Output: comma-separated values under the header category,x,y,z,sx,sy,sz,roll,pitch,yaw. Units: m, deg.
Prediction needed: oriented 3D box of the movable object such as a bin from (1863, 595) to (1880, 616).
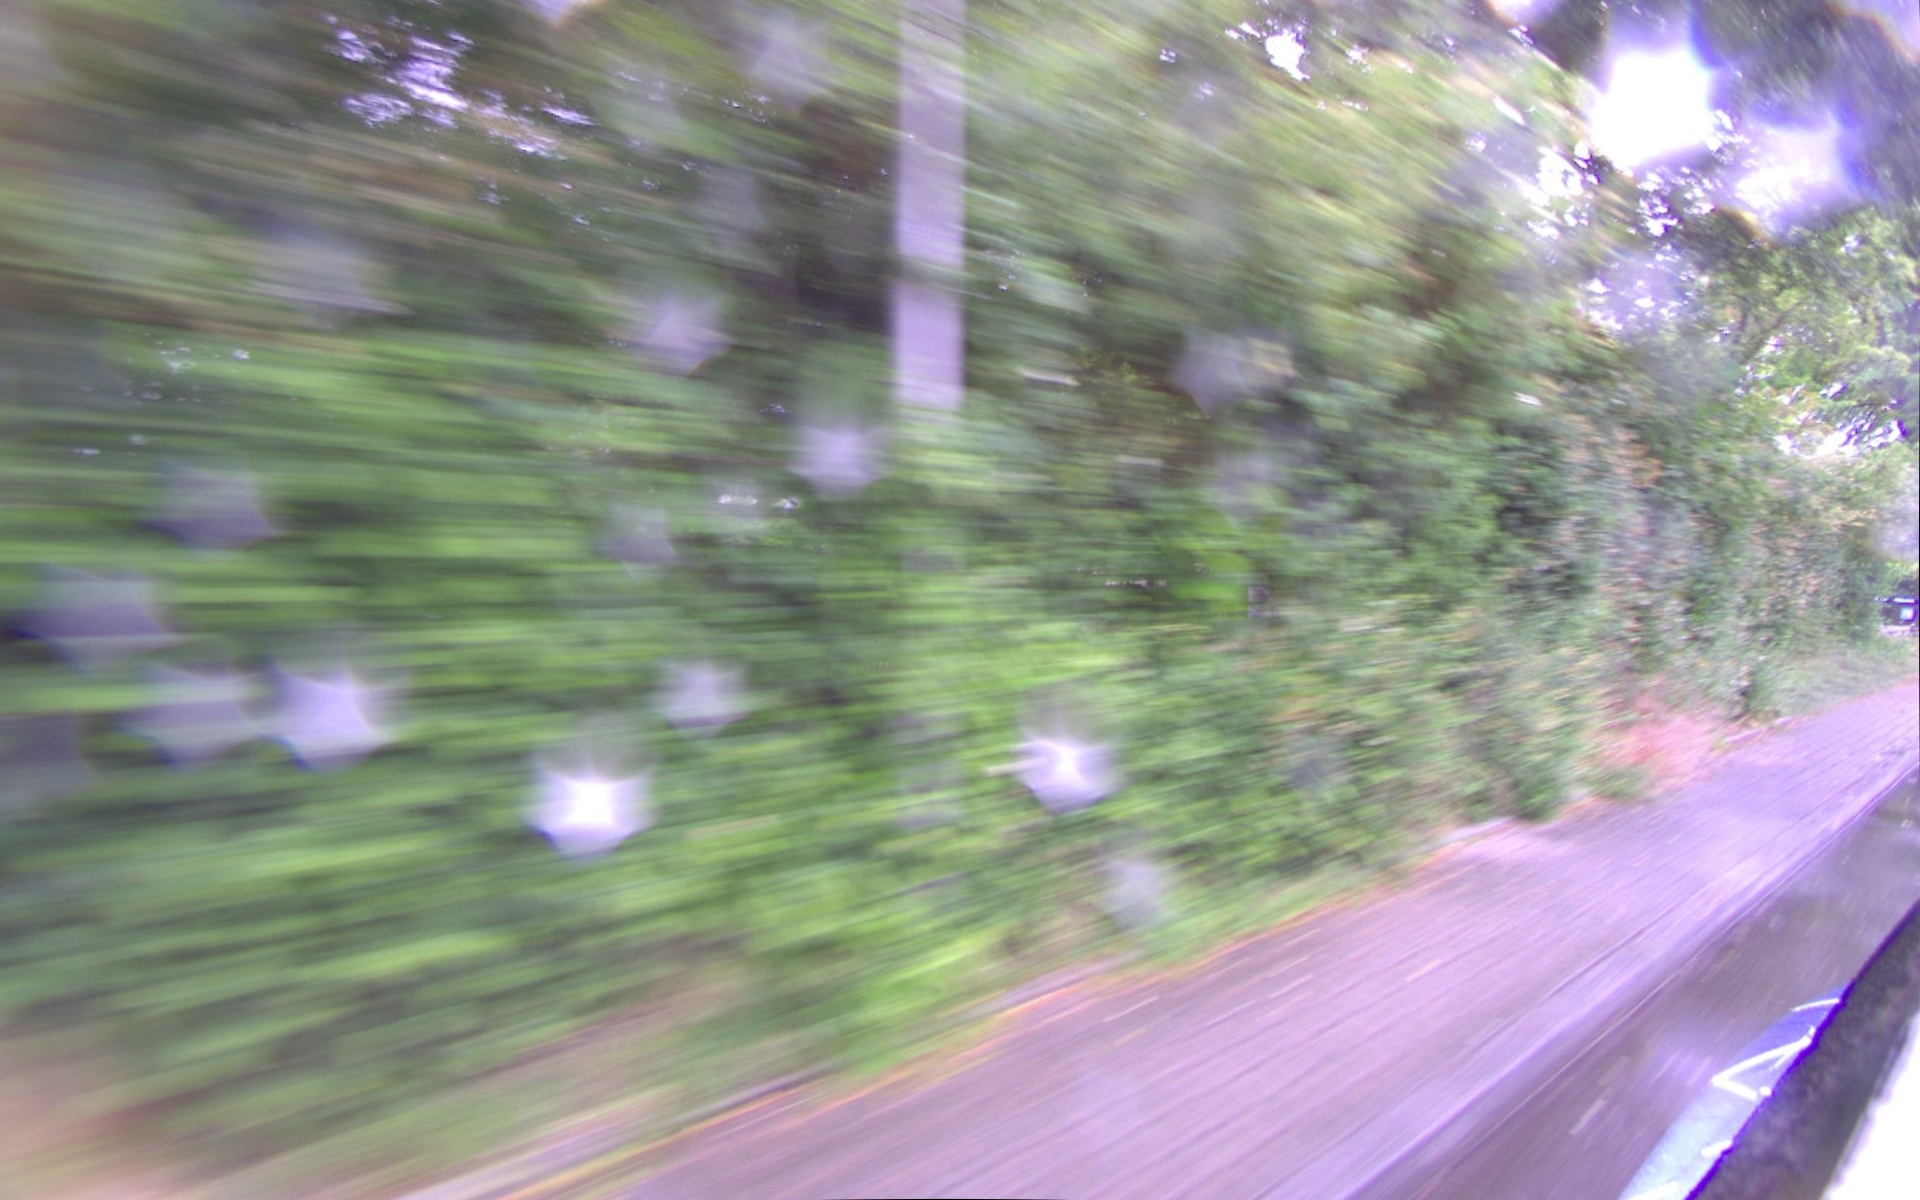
category,x,y,z,sx,sy,sz,roll,pitch,yaw
movable object such as a bin,49.169,0.277,54.602,0.521,1.093,0.567,0,3,-42

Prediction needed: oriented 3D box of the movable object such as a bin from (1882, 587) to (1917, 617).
category,x,y,z,sx,sy,sz,roll,pitch,yaw
movable object such as a bin,49.942,0.098,53.799,0.782,1.453,1.237,0,4,-42

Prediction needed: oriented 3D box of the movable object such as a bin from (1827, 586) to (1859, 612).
category,x,y,z,sx,sy,sz,roll,pitch,yaw
movable object such as a bin,48.392,-0.060,55.468,0.782,1.359,1.151,0,4,-41

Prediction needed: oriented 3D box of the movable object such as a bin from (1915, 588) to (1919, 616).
category,x,y,z,sx,sy,sz,roll,pitch,yaw
movable object such as a bin,50.767,0.150,52.761,0.782,1.436,1.295,0,4,-42
